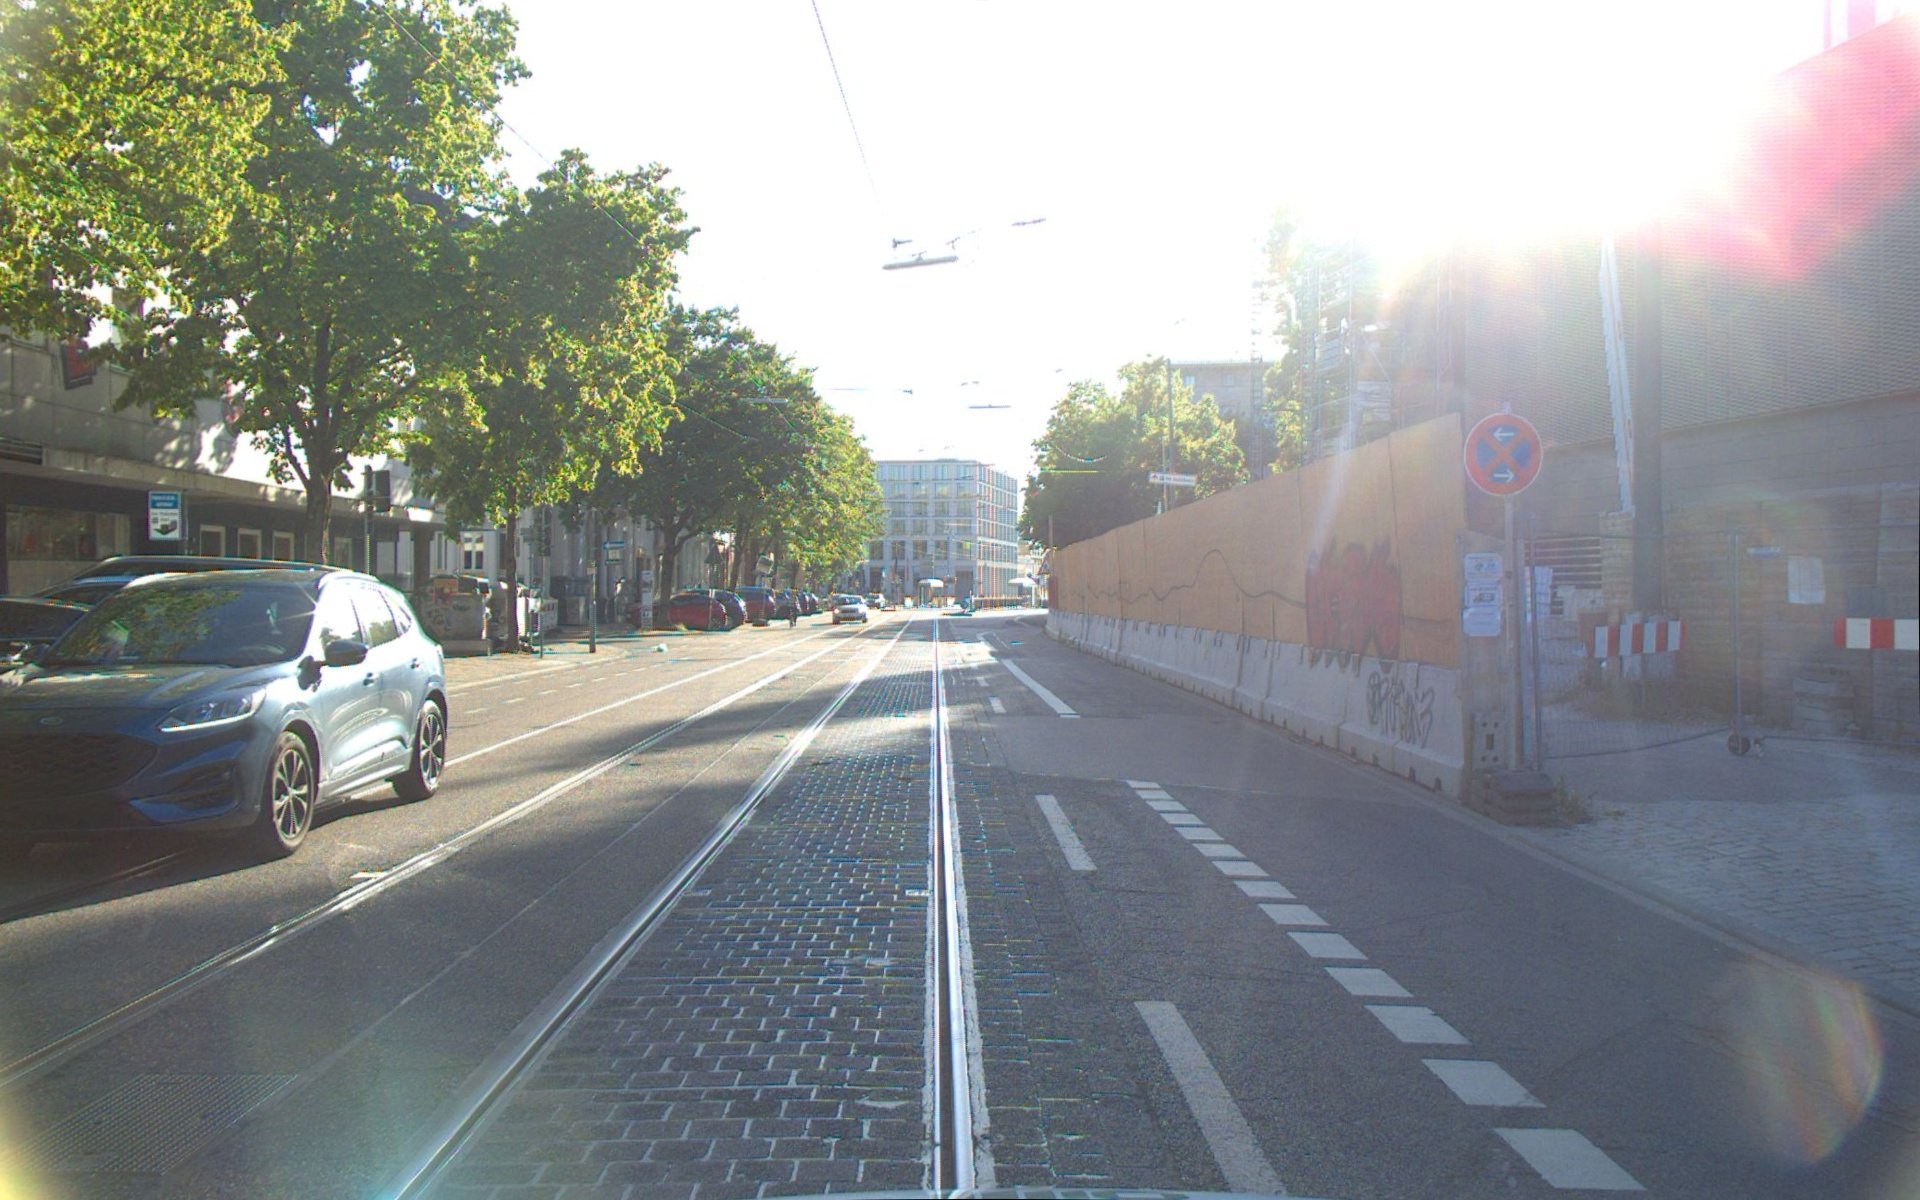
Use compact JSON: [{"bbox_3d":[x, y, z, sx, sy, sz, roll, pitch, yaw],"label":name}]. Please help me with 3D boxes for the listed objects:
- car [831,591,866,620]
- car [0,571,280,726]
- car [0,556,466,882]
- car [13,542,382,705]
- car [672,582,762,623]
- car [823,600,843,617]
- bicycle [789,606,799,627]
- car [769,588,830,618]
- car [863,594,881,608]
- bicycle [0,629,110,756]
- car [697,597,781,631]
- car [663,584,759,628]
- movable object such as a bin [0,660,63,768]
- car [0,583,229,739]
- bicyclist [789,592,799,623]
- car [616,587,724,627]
[{"bbox_3d":[-5.807,0.248,86.469,1.675,1.461,4.169,-1,0,-2],"label":"car"},{"bbox_3d":[-10.426,0.541,19.786,4.176,1.714,1.799,-1,1,-22],"label":"car"},{"bbox_3d":[-4.721,0.611,10.589,1.888,1.658,4.248,0,0,-1],"label":"car"},{"bbox_3d":[-10.129,0.341,22.308,4.294,2.021,1.936,2,0,-23],"label":"car"},{"bbox_3d":[-10.786,0.094,73.536,3.645,1.751,1.591,-1,0,-36],"label":"car"},{"bbox_3d":[-11.731,0.753,152.811,1.541,1.516,3.999,0,0,-1],"label":"car"},{"bbox_3d":[-7.621,0.747,75.822,0.440,0.896,1.899,-1,0,-5],"label":"bicycle"},{"bbox_3d":[-9.399,0.170,97.000,3.336,1.727,1.392,0,0,-29],"label":"car"},{"bbox_3d":[-9.623,0.102,180.841,1.525,1.557,4.002,0,0,3],"label":"car"},{"bbox_3d":[-9.116,0.864,15.524,1.936,1.164,0.490,1,0,-19],"label":"bicycle"},{"bbox_3d":[-11.583,0.701,86.647,4.113,1.751,1.569,0,0,-29],"label":"car"},{"bbox_3d":[-10.318,0.249,68.603,3.645,1.751,1.591,-1,0,-36],"label":"car"},{"bbox_3d":[-8.551,1.028,15.039,0.566,0.929,0.573,2,1,-17],"label":"movable object such as a bin"},{"bbox_3d":[-9.689,0.602,16.993,3.797,1.502,1.834,-1,1,-19],"label":"car"},{"bbox_3d":[-7.611,0.325,75.822,0.448,1.402,0.640,0,0,-6],"label":"bicyclist"},{"bbox_3d":[-11.399,0.272,65.071,3.868,1.478,1.618,1,-1,-35],"label":"car"}]
